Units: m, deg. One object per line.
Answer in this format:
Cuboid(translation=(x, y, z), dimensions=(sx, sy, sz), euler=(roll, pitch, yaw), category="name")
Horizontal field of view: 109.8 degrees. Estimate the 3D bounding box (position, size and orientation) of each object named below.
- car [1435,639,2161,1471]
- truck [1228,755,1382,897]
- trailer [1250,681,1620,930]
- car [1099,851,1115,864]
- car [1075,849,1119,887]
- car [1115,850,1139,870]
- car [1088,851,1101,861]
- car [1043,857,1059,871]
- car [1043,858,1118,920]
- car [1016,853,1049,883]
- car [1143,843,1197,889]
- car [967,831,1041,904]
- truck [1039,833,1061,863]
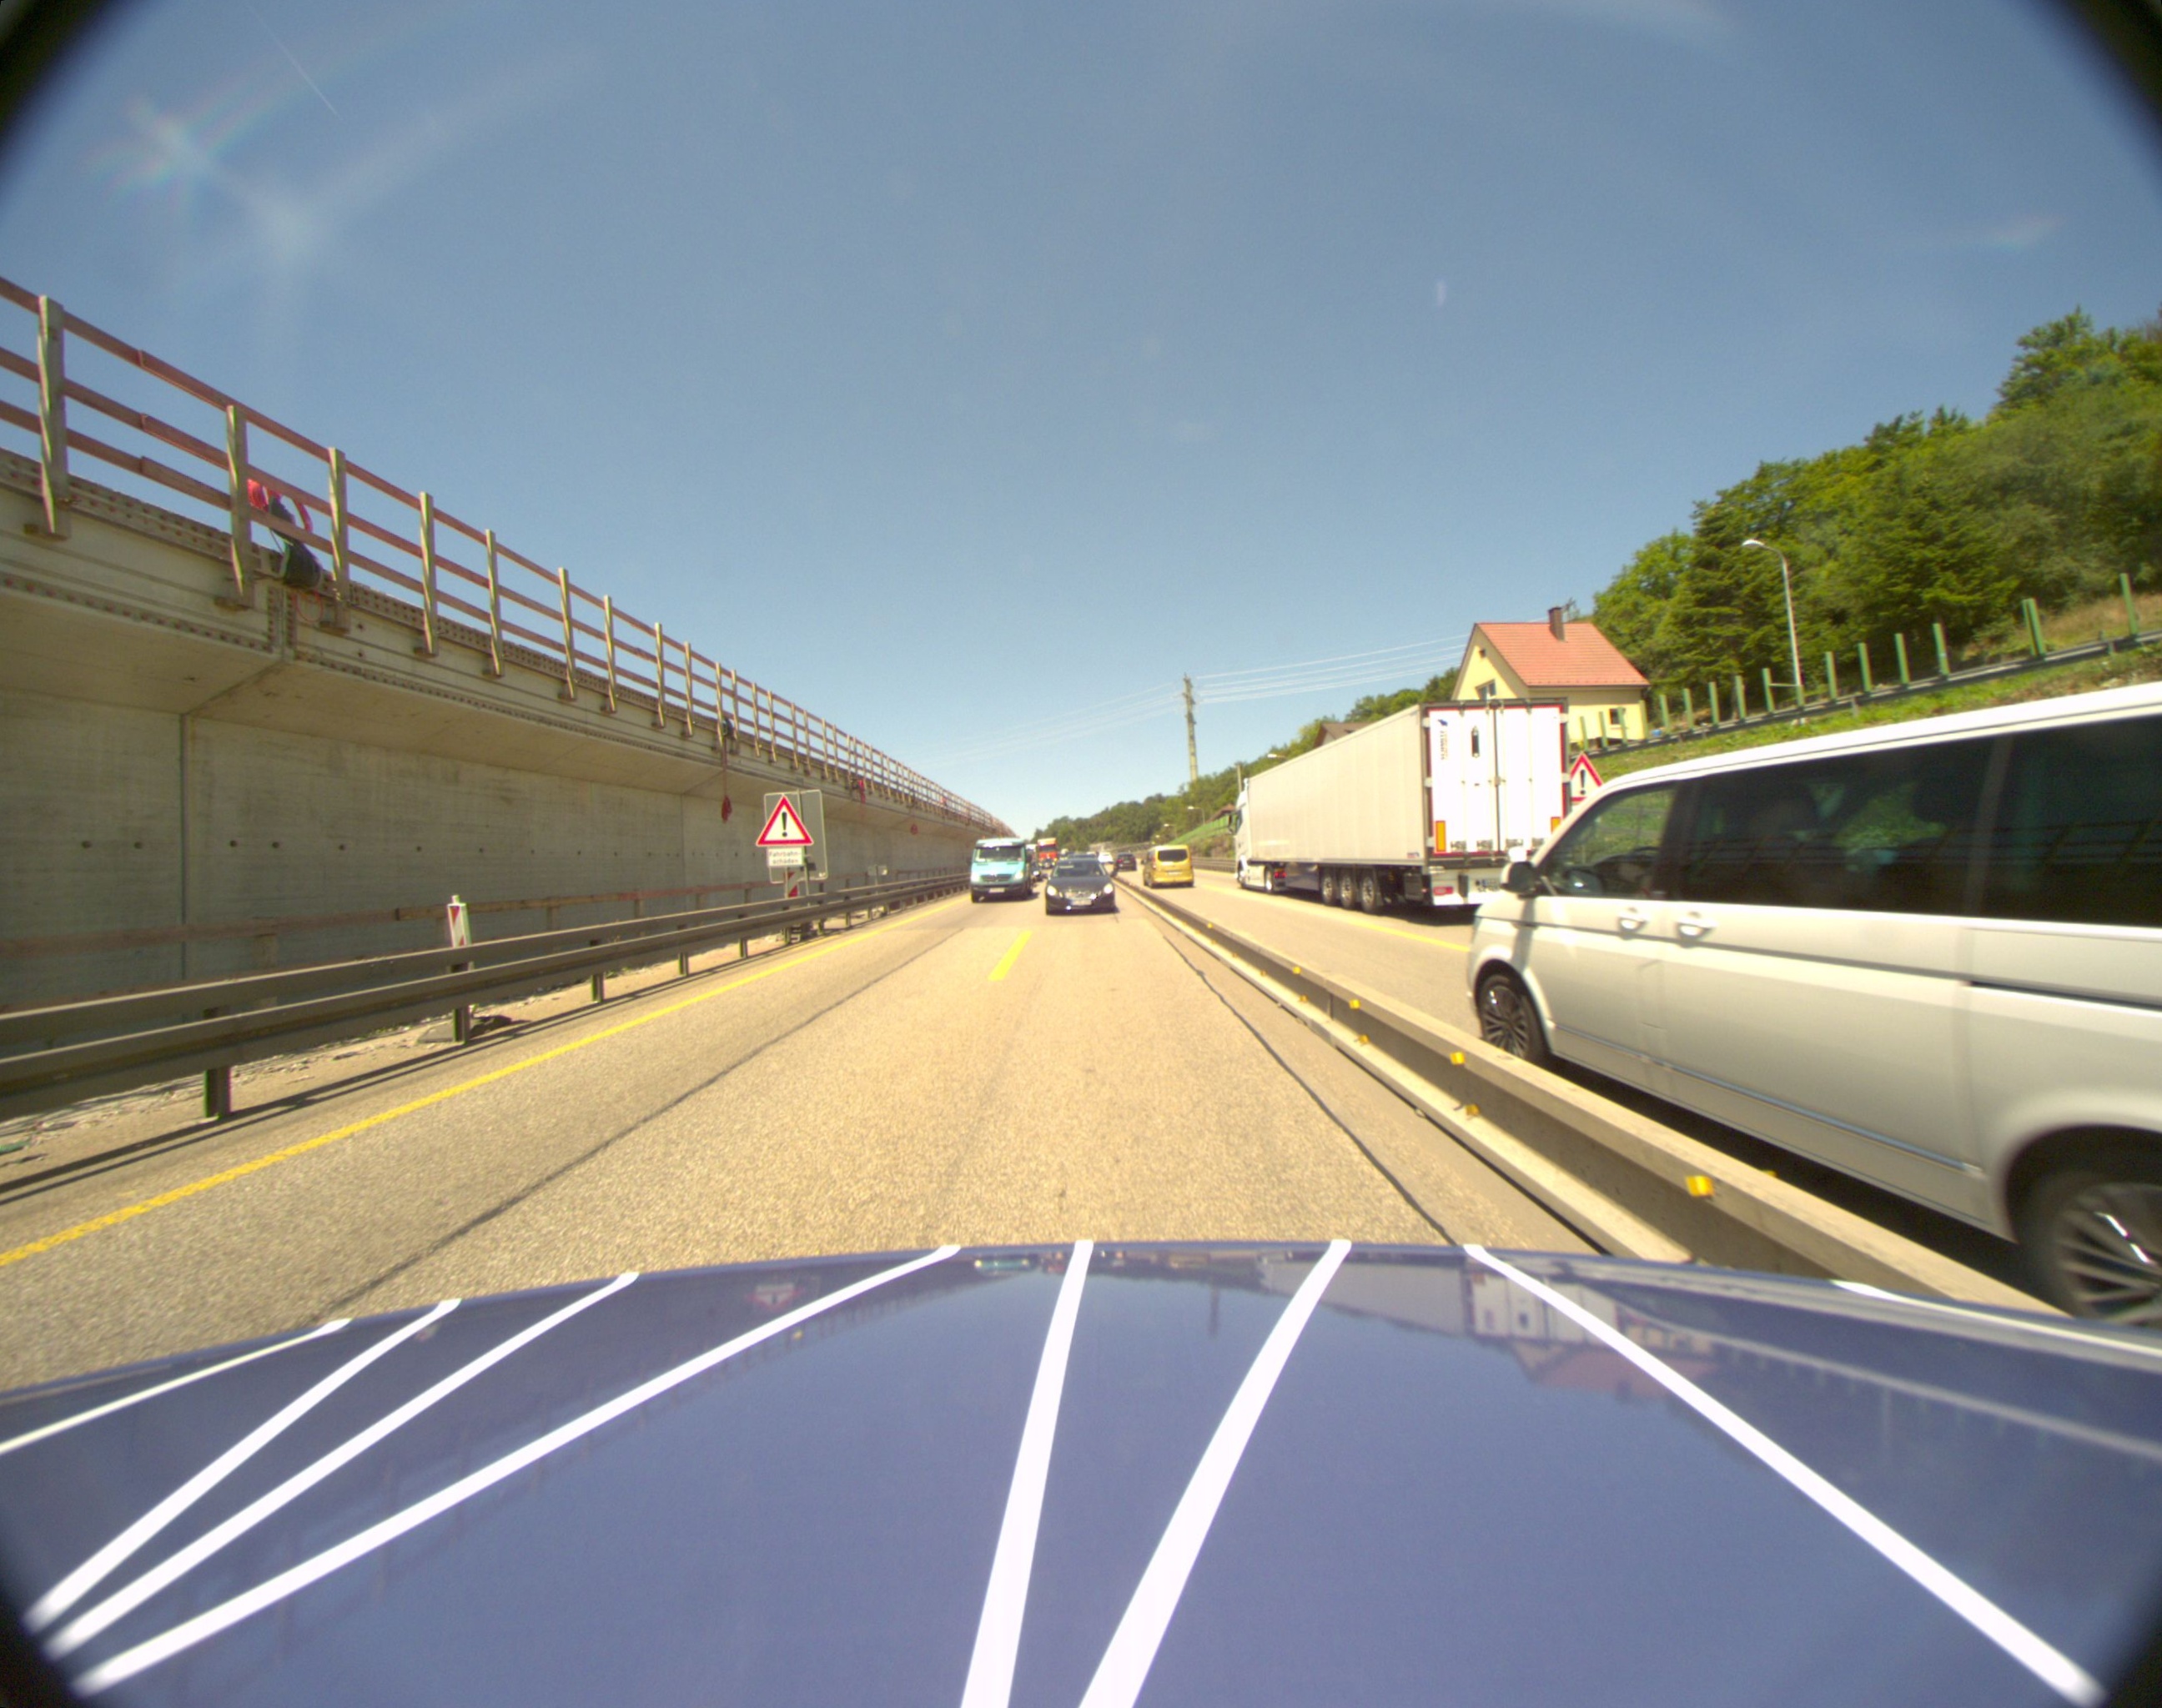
Cuboid(translation=(3.504, 0.431, 3.033), dimensions=(1.867, 2.002, 4.804), euler=(-3, 1, 0), category="car")
Cuboid(translation=(7.502, -0.908, 26.499), dimensions=(3.189, 4.214, 6.482), euler=(-3, 1, -1), category="truck")
Cuboid(translation=(7.537, -0.846, 19.673), dimensions=(3.228, 4.134, 13.406), euler=(-2, 0, 0), category="trailer")
Cuboid(translation=(3.145, 0.374, 93.727), dimensions=(1.695, 1.477, 3.749), euler=(-3, 0, -2), category="car")
Cuboid(translation=(0.777, 0.683, 39.870), dimensions=(1.860, 1.650, 3.998), euler=(-6, 1, -2), category="car")
Cuboid(translation=(3.907, 0.506, 65.154), dimensions=(1.704, 1.552, 4.102), euler=(-2, 0, -1), category="car")
Cuboid(translation=(2.179, 0.373, 122.592), dimensions=(1.771, 1.477, 3.864), euler=(-3, 0, -2), category="car")
Cuboid(translation=(-3.674, 1.194, 94.077), dimensions=(1.674, 1.499, 3.647), euler=(-6, 1, -1), category="car")
Cuboid(translation=(-0.122, 0.884, 21.122), dimensions=(1.793, 1.440, 4.296), euler=(-2, 0, -3), category="car")
Cuboid(translation=(-3.141, 0.898, 50.002), dimensions=(1.860, 1.650, 3.999), euler=(-6, 1, -1), category="car")
Cuboid(translation=(3.836, 0.487, 33.353), dimensions=(1.780, 1.810, 4.433), euler=(-3, 0, 0), category="car")
Cuboid(translation=(-2.827, 0.423, 29.622), dimensions=(1.968, 2.367, 7.209), euler=(-4, 1, 0), category="car")
Cuboid(translation=(-4.710, -0.961, 113.503), dimensions=(2.651, 3.978, 11.191), euler=(-6, 1, -3), category="truck")
